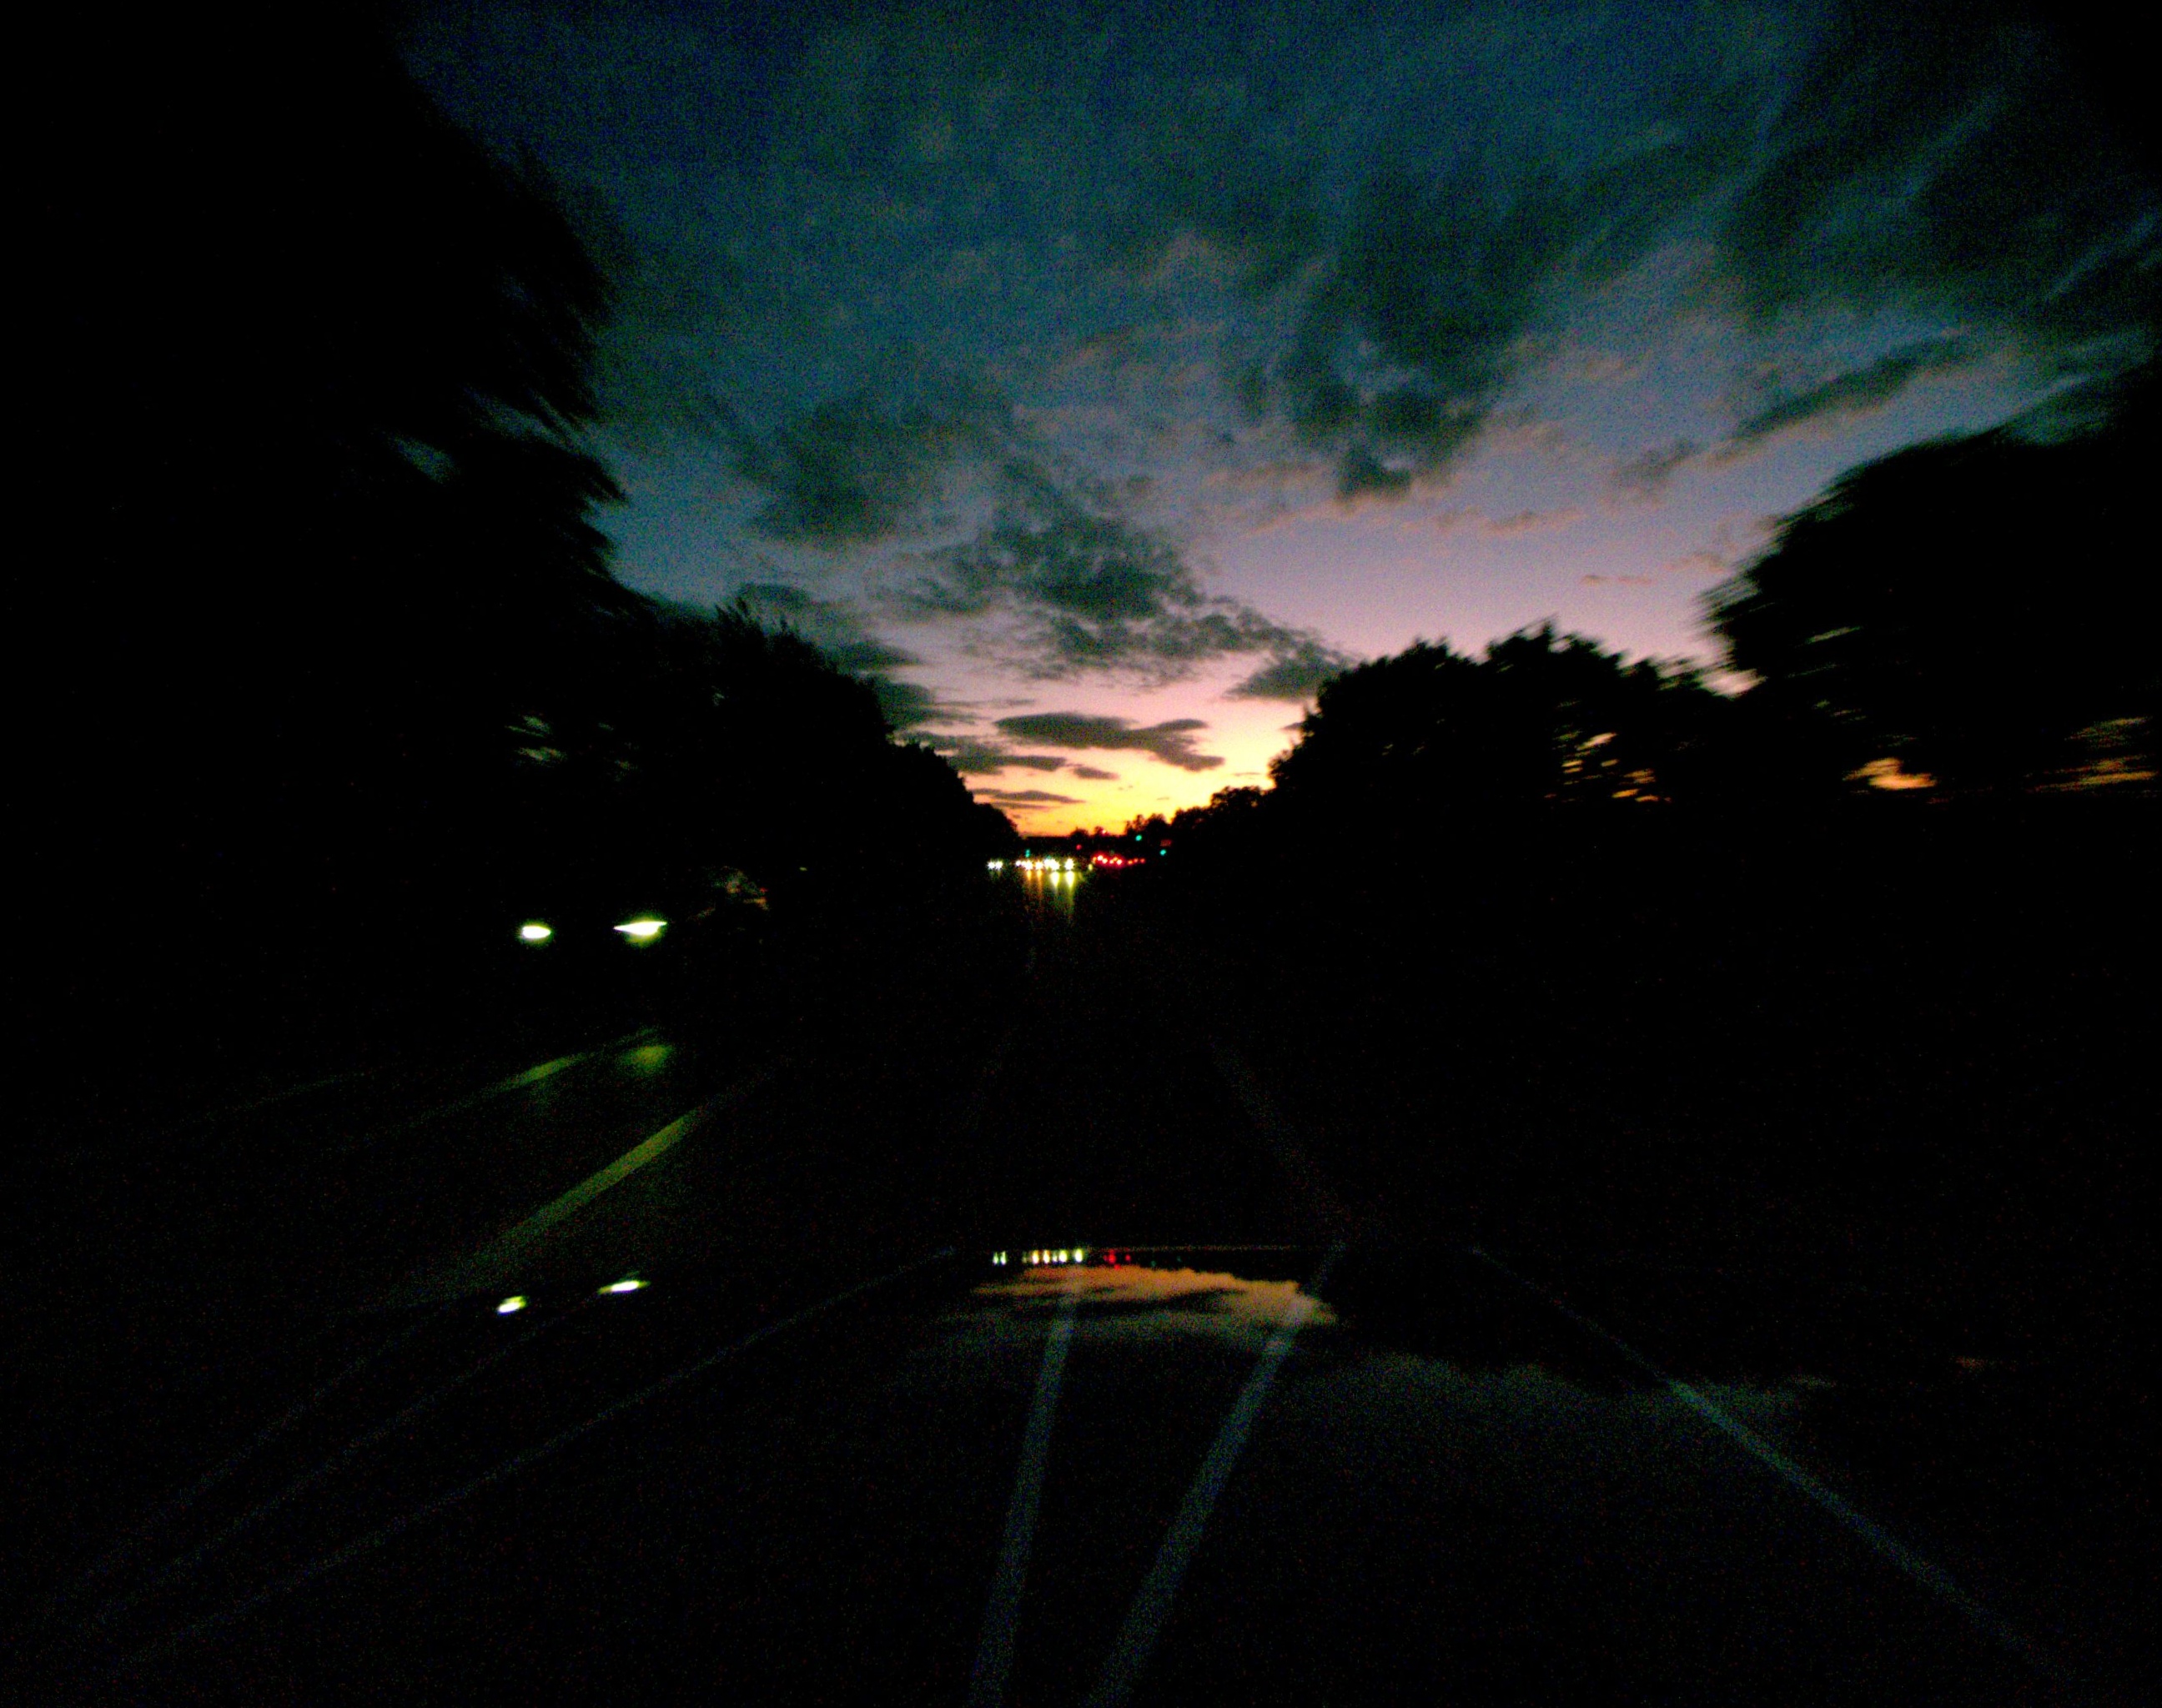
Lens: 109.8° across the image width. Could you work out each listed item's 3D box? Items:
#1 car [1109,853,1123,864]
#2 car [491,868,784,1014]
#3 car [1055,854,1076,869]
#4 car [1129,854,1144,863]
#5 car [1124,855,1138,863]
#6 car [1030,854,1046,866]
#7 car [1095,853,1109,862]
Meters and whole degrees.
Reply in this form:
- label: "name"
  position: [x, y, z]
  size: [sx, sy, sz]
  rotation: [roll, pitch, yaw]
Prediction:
- label: "car"
  position: [6.102, 0.774, 133.867]
  size: [1.999, 1.672, 4.870]
  rotation: [0, 1, -4]
- label: "car"
  position: [-6.171, 1.074, 11.352]
  size: [1.906, 1.610, 4.554]
  rotation: [-1, 0, -4]
- label: "car"
  position: [-1.589, 0.765, 78.638]
  size: [1.999, 1.444, 4.733]
  rotation: [-1, 0, -1]
- label: "car"
  position: [9.680, 0.732, 132.349]
  size: [1.999, 1.444, 4.733]
  rotation: [0, 0, -2]
- label: "car"
  position: [9.082, 0.909, 139.316]
  size: [1.999, 1.444, 4.733]
  rotation: [0, -1, -3]
- label: "car"
  position: [-5.623, 0.791, 98.753]
  size: [1.999, 1.444, 3.998]
  rotation: [1, 0, -4]
- label: "car"
  position: [3.436, 0.573, 125.262]
  size: [1.999, 1.560, 4.822]
  rotation: [0, 0, -1]
